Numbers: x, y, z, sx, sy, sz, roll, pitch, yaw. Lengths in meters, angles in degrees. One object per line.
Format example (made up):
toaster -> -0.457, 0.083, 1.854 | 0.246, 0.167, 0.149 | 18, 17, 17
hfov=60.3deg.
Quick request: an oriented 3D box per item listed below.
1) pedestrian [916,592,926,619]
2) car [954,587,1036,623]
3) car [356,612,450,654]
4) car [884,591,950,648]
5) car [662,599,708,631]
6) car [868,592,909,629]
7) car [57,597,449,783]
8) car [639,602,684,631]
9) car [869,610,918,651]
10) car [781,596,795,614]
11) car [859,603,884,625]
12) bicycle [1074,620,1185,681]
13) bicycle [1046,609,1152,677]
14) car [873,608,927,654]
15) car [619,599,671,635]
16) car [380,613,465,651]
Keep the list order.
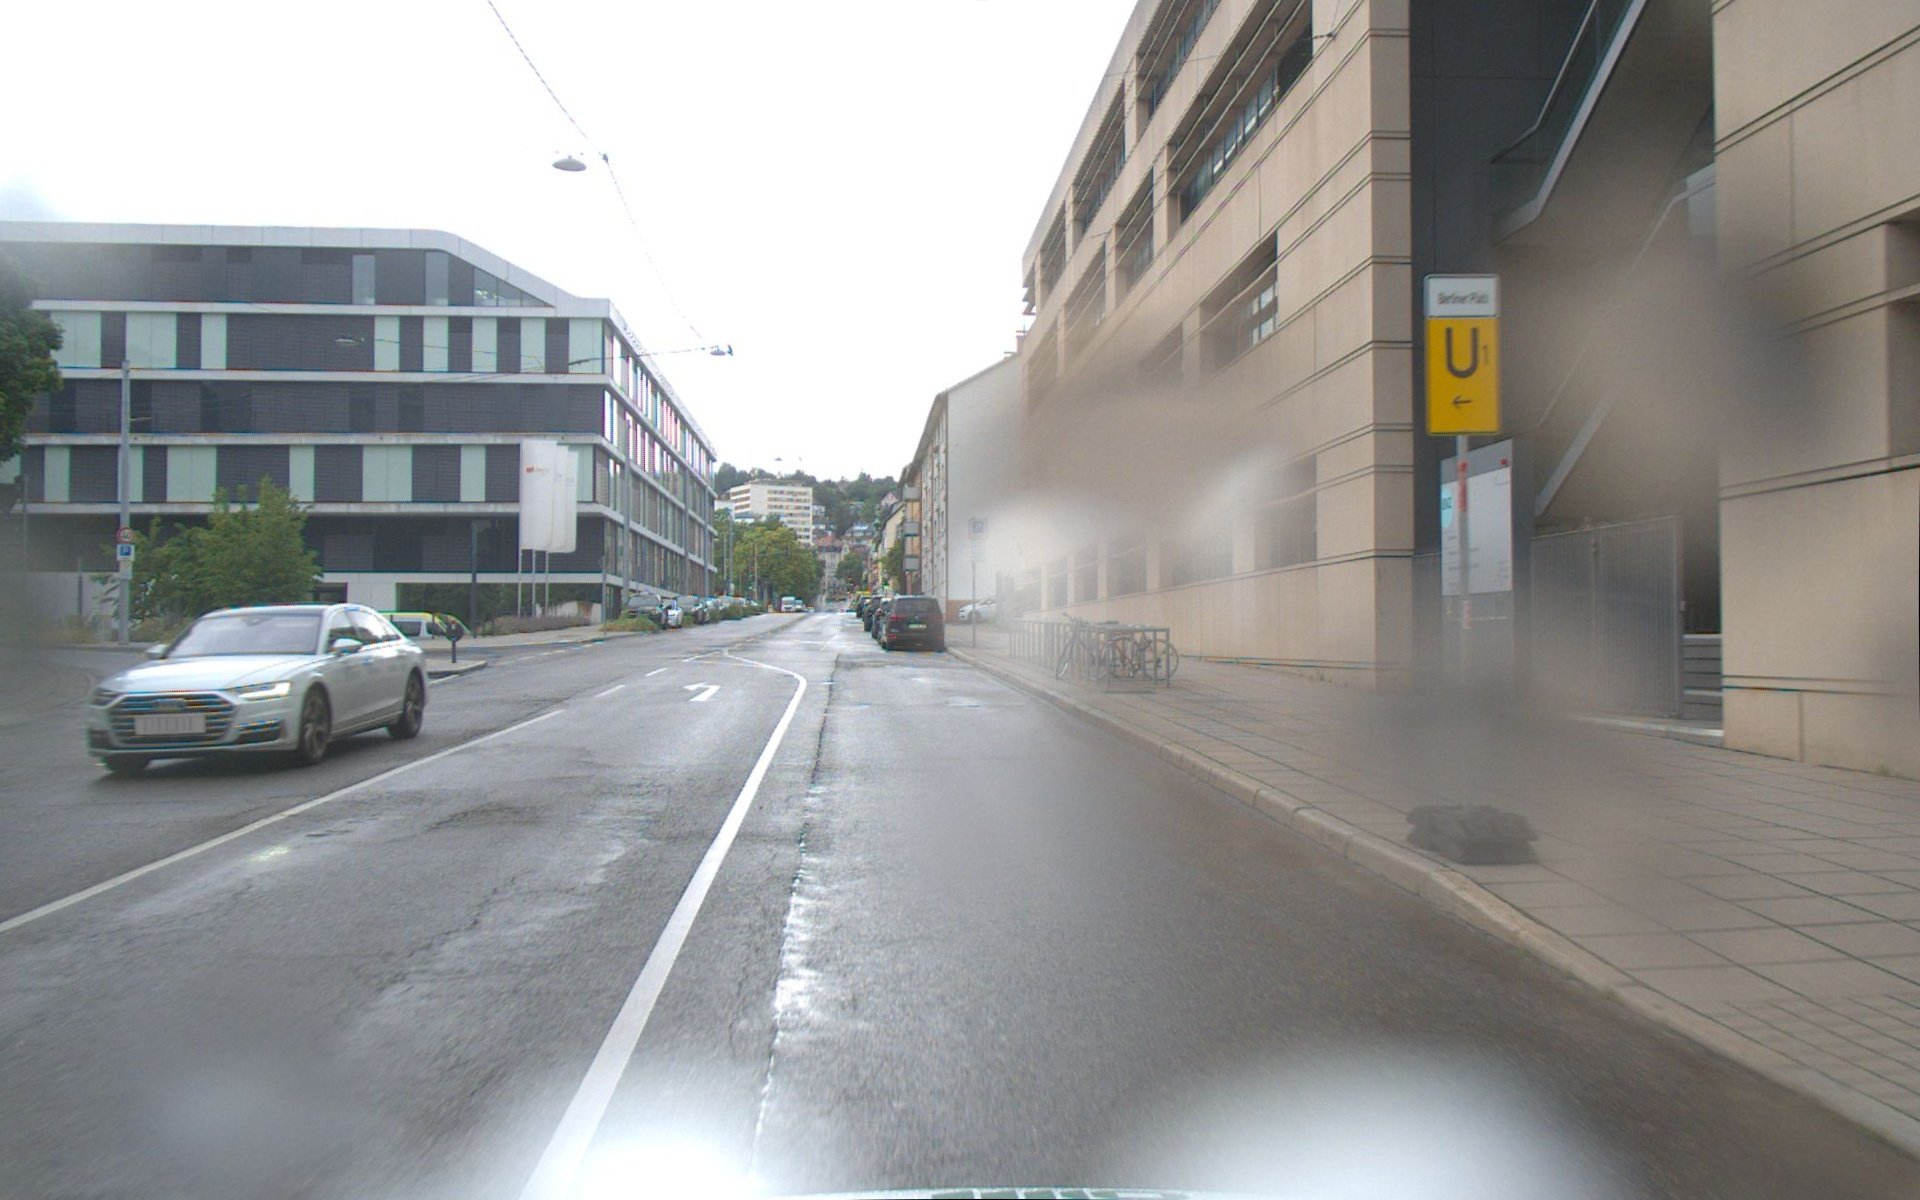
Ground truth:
pedestrian -> -2.721, 0.377, 115.229 | 0.626, 1.903, 0.538 | 1, -1, -2
car -> 1.954, 0.292, 92.537 | 4.352, 1.742, 1.903 | -3, 0, -5
car -> -29.939, 1.764, 89.032 | 4.506, 2.212, 1.926 | 1, -1, -10
car -> -1.363, 0.593, 50.777 | 1.736, 1.632, 4.389 | 1, 0, -5
car -> -15.682, 0.849, 94.636 | 1.923, 1.781, 4.940 | 1, 0, -2
car -> -3.652, 0.518, 83.268 | 1.897, 1.781, 4.792 | 1, 0, -4
car -> -6.907, 0.769, 16.896 | 1.844, 1.517, 5.218 | -2, 0, -2
car -> -15.219, 0.837, 84.506 | 1.785, 1.443, 4.398 | 1, 0, -4
car -> -2.684, 1.201, 66.391 | 1.709, 1.560, 4.314 | 1, -1, -5
car -> -25.408, 0.695, 244.267 | 2.064, 2.591, 4.744 | 1, -1, -6
car -> -6.275, 0.991, 117.520 | 1.673, 1.480, 3.981 | 1, 0, -4
bicycle -> 2.783, 0.825, 27.245 | 1.725, 0.970, 0.658 | 0, -1, -8
bicycle -> 2.369, 0.731, 28.196 | 1.697, 1.138, 0.658 | 0, -1, -10
car -> -2.181, 1.097, 58.985 | 1.691, 1.539, 4.053 | 2, -1, -5
car -> -14.780, 0.793, 77.823 | 1.813, 1.646, 4.487 | 1, 0, -4
car -> -30.227, 1.786, 93.055 | 4.257, 2.068, 1.597 | 1, -1, -5
